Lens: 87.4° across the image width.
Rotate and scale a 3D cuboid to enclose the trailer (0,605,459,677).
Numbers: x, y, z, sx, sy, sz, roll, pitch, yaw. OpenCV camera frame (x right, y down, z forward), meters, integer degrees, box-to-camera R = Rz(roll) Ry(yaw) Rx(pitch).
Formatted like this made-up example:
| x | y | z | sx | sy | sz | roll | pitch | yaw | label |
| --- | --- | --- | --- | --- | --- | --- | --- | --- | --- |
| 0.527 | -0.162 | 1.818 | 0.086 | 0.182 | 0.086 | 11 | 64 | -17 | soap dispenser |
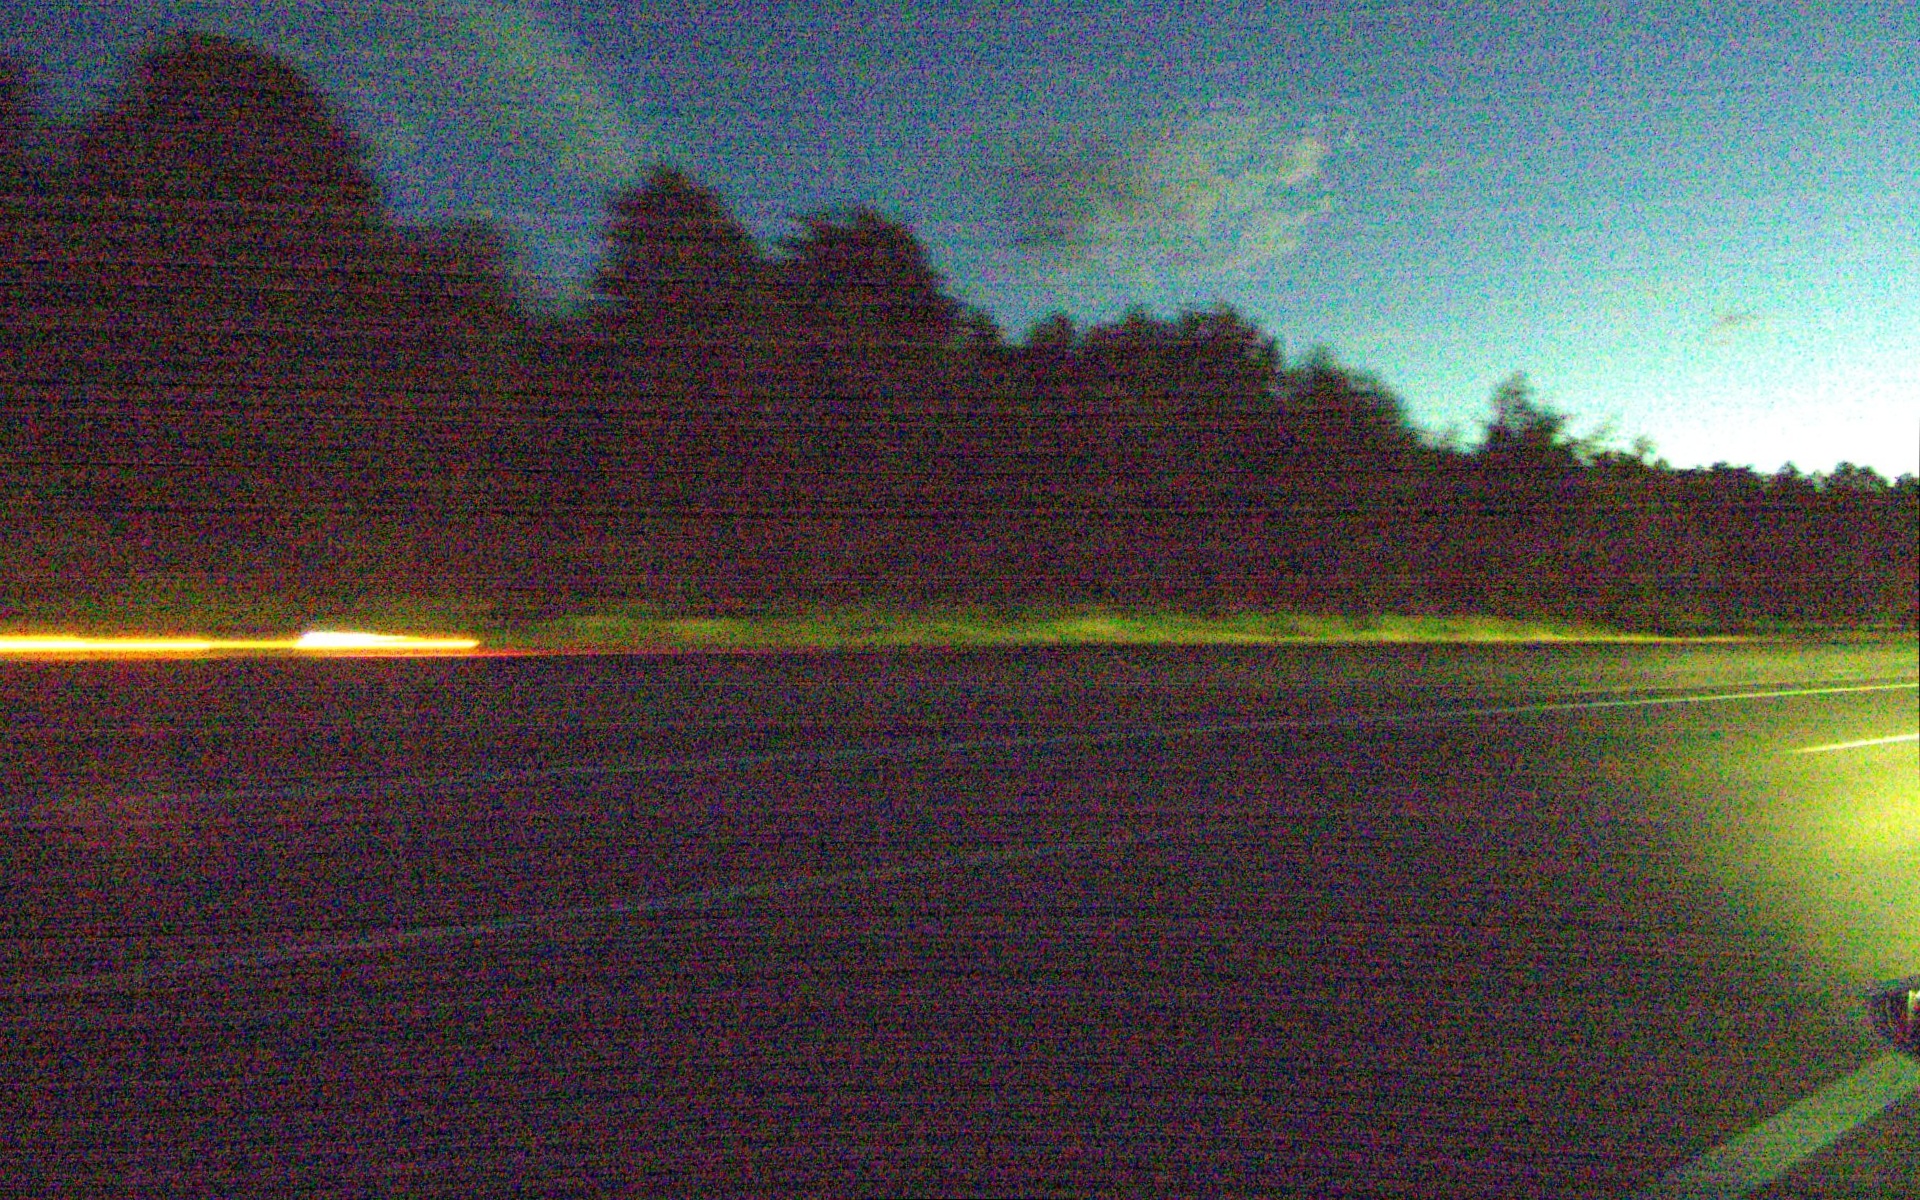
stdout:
| x | y | z | sx | sy | sz | roll | pitch | yaw | label |
| --- | --- | --- | --- | --- | --- | --- | --- | --- | --- |
| -13.553 | 0.730 | 18.116 | 7.981 | 1.119 | 2.403 | 2 | -1 | -30 | trailer |
